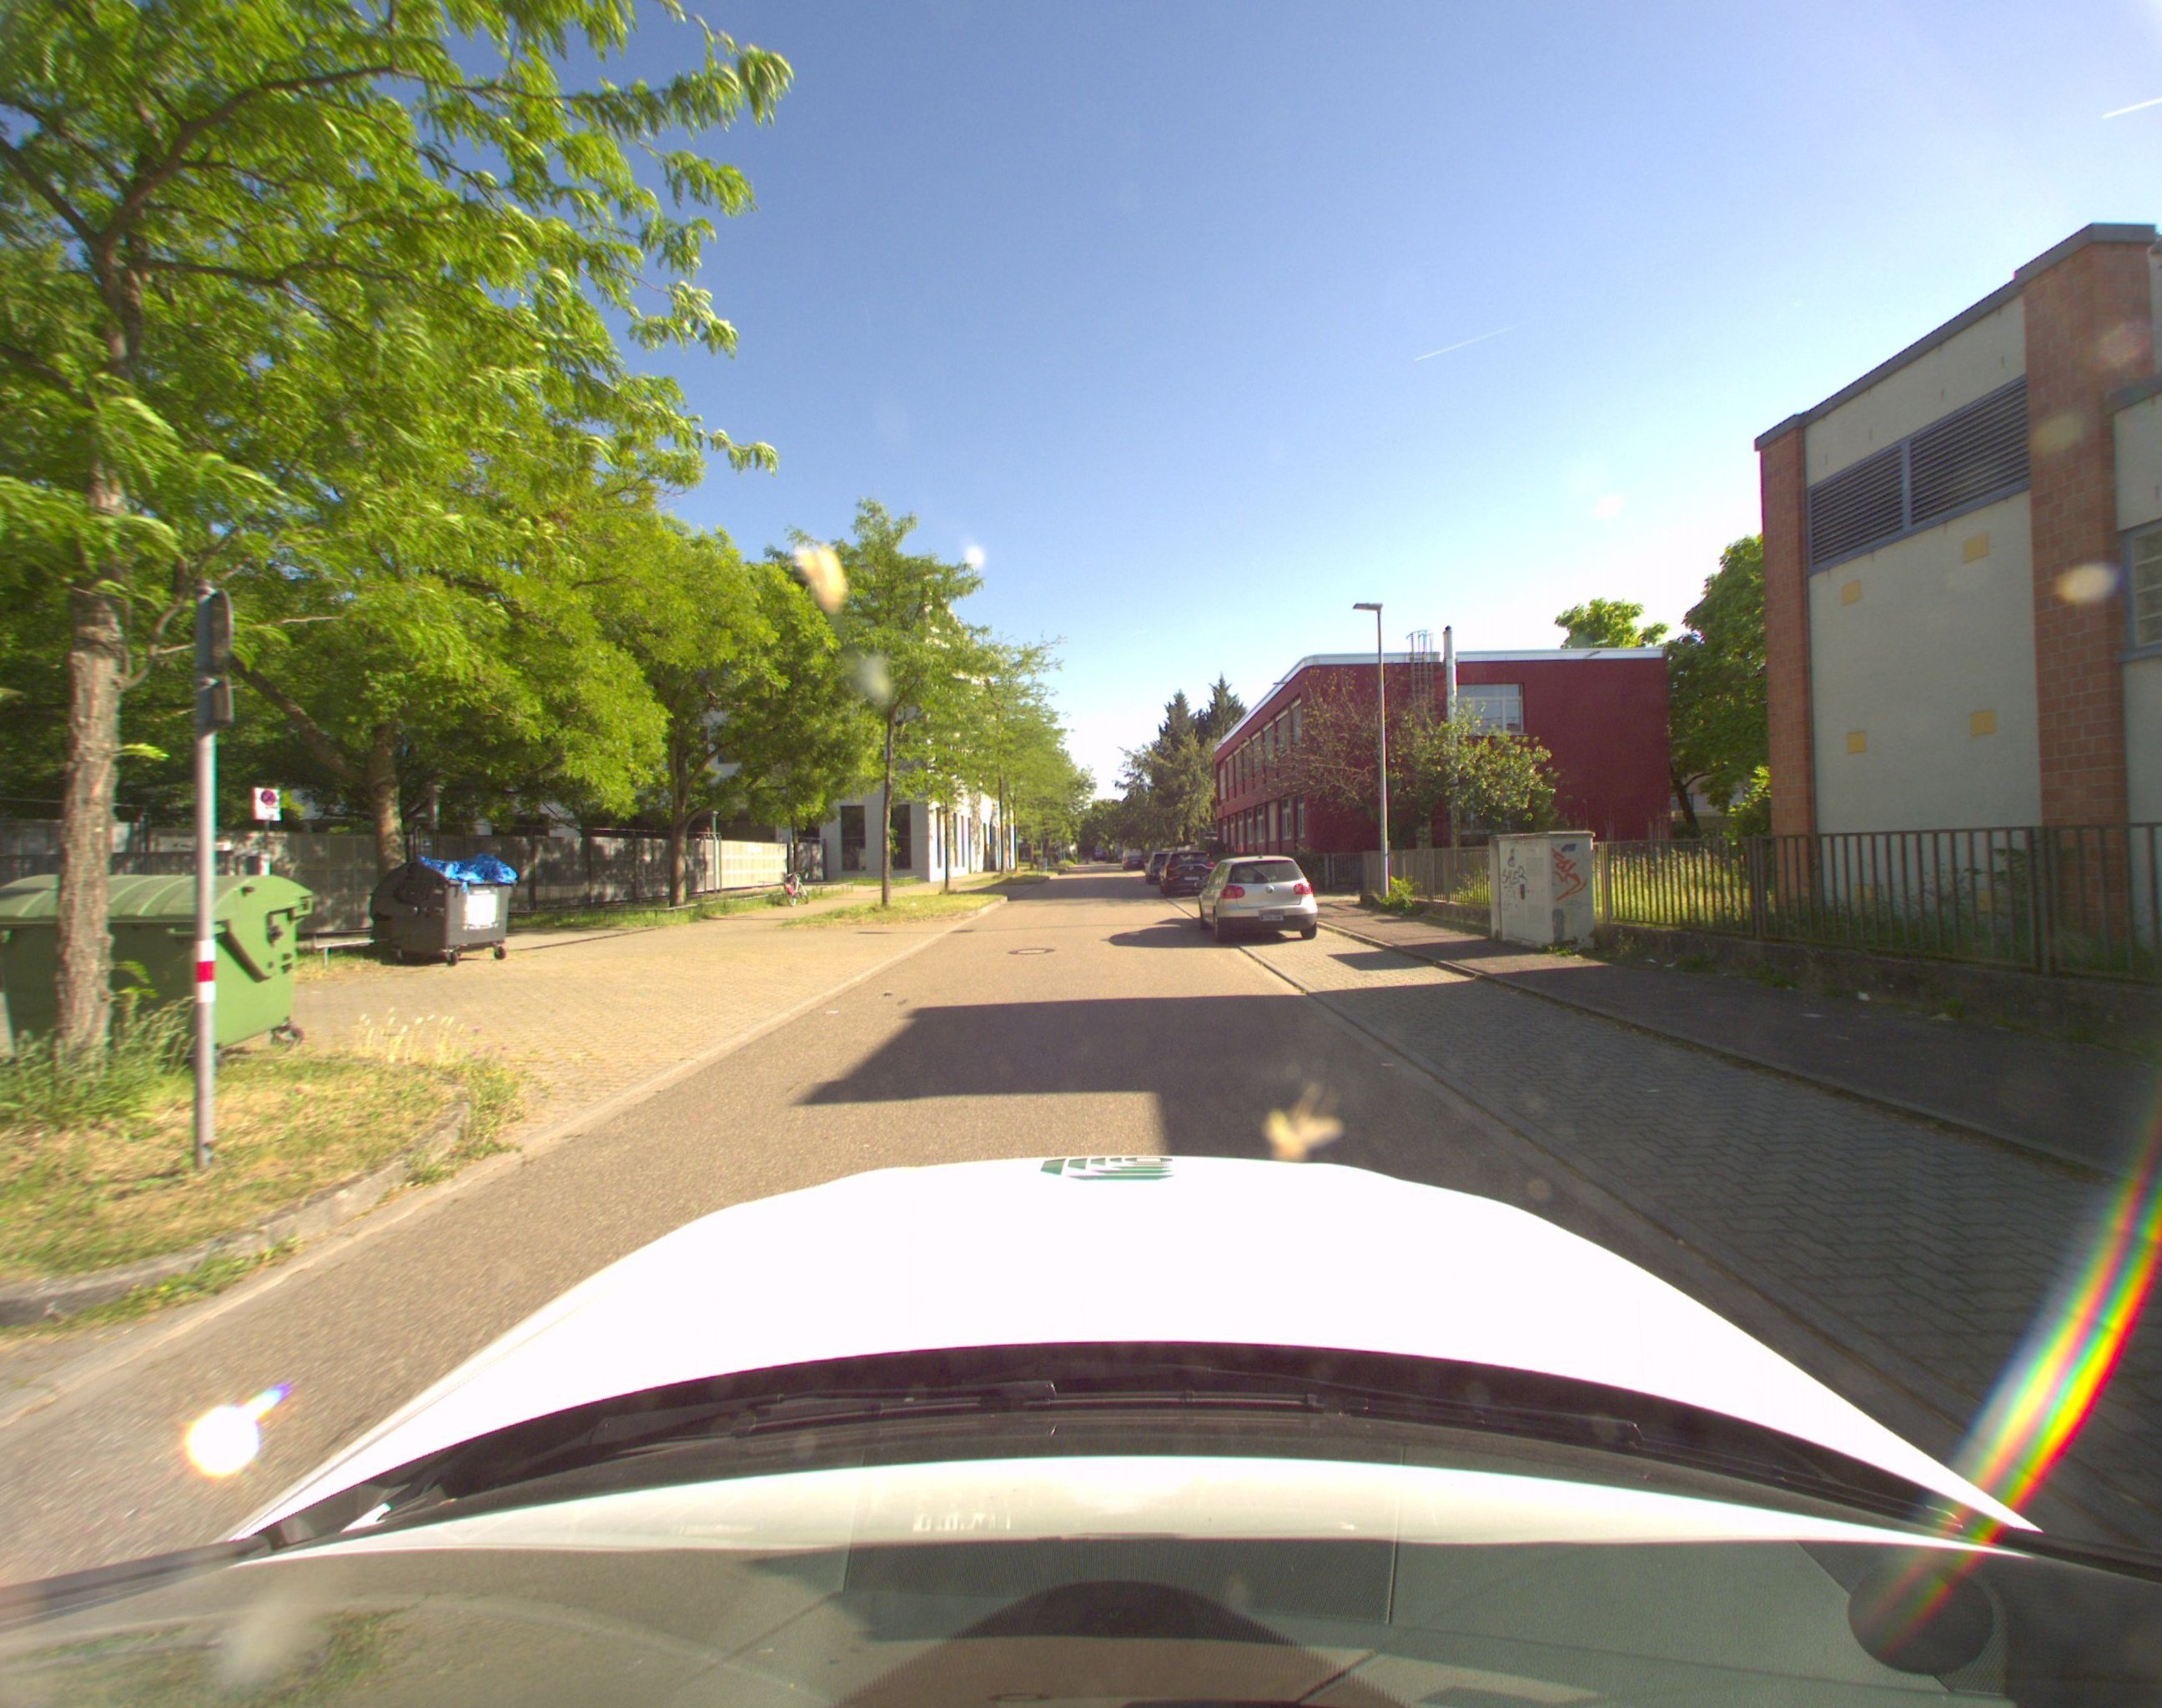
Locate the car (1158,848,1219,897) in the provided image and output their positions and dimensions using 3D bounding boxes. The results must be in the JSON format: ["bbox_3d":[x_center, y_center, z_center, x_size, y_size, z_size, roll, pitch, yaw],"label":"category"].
[{"bbox_3d":[3.854,0.638,29.933,1.831,1.634,4.203,-1,0,2],"label":"car"}]

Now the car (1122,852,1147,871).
[{"bbox_3d":[4.828,0.659,73.738,1.986,1.442,4.002,-5,0,2],"label":"car"}]

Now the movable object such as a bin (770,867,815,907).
[{"bbox_3d":[-9.057,1.010,25.628,0.660,1.181,1.936,-1,0,2],"label":"movable object such as a bin"}]

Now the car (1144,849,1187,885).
[{"bbox_3d":[4.189,0.625,41.057,1.848,1.648,4.002,-2,0,2],"label":"car"}]

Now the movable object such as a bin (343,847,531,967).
[{"bbox_3d":[-9.491,0.770,12.113,1.407,1.597,1.524,3,-2,5],"label":"movable object such as a bin"}]

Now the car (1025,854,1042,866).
[{"bbox_3d":[-6.134,0.739,104.868,1.988,1.458,3.791,-1,0,-1],"label":"car"}]

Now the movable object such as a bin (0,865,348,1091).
[{"bbox_3d":[-6.542,0.805,5.978,1.296,1.414,1.221,-1,0,-17],"label":"movable object such as a bin"}]

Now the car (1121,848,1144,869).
[{"bbox_3d":[4.977,0.454,79.533,1.986,1.834,4.002,-5,0,2],"label":"car"}]

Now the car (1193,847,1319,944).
[{"bbox_3d":[3.167,0.688,15.430,1.653,1.561,3.936,-1,0,2],"label":"car"}]

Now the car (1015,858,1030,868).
[{"bbox_3d":[-8.336,1.218,115.809,1.900,1.342,3.791,-1,0,-1],"label":"car"}]
